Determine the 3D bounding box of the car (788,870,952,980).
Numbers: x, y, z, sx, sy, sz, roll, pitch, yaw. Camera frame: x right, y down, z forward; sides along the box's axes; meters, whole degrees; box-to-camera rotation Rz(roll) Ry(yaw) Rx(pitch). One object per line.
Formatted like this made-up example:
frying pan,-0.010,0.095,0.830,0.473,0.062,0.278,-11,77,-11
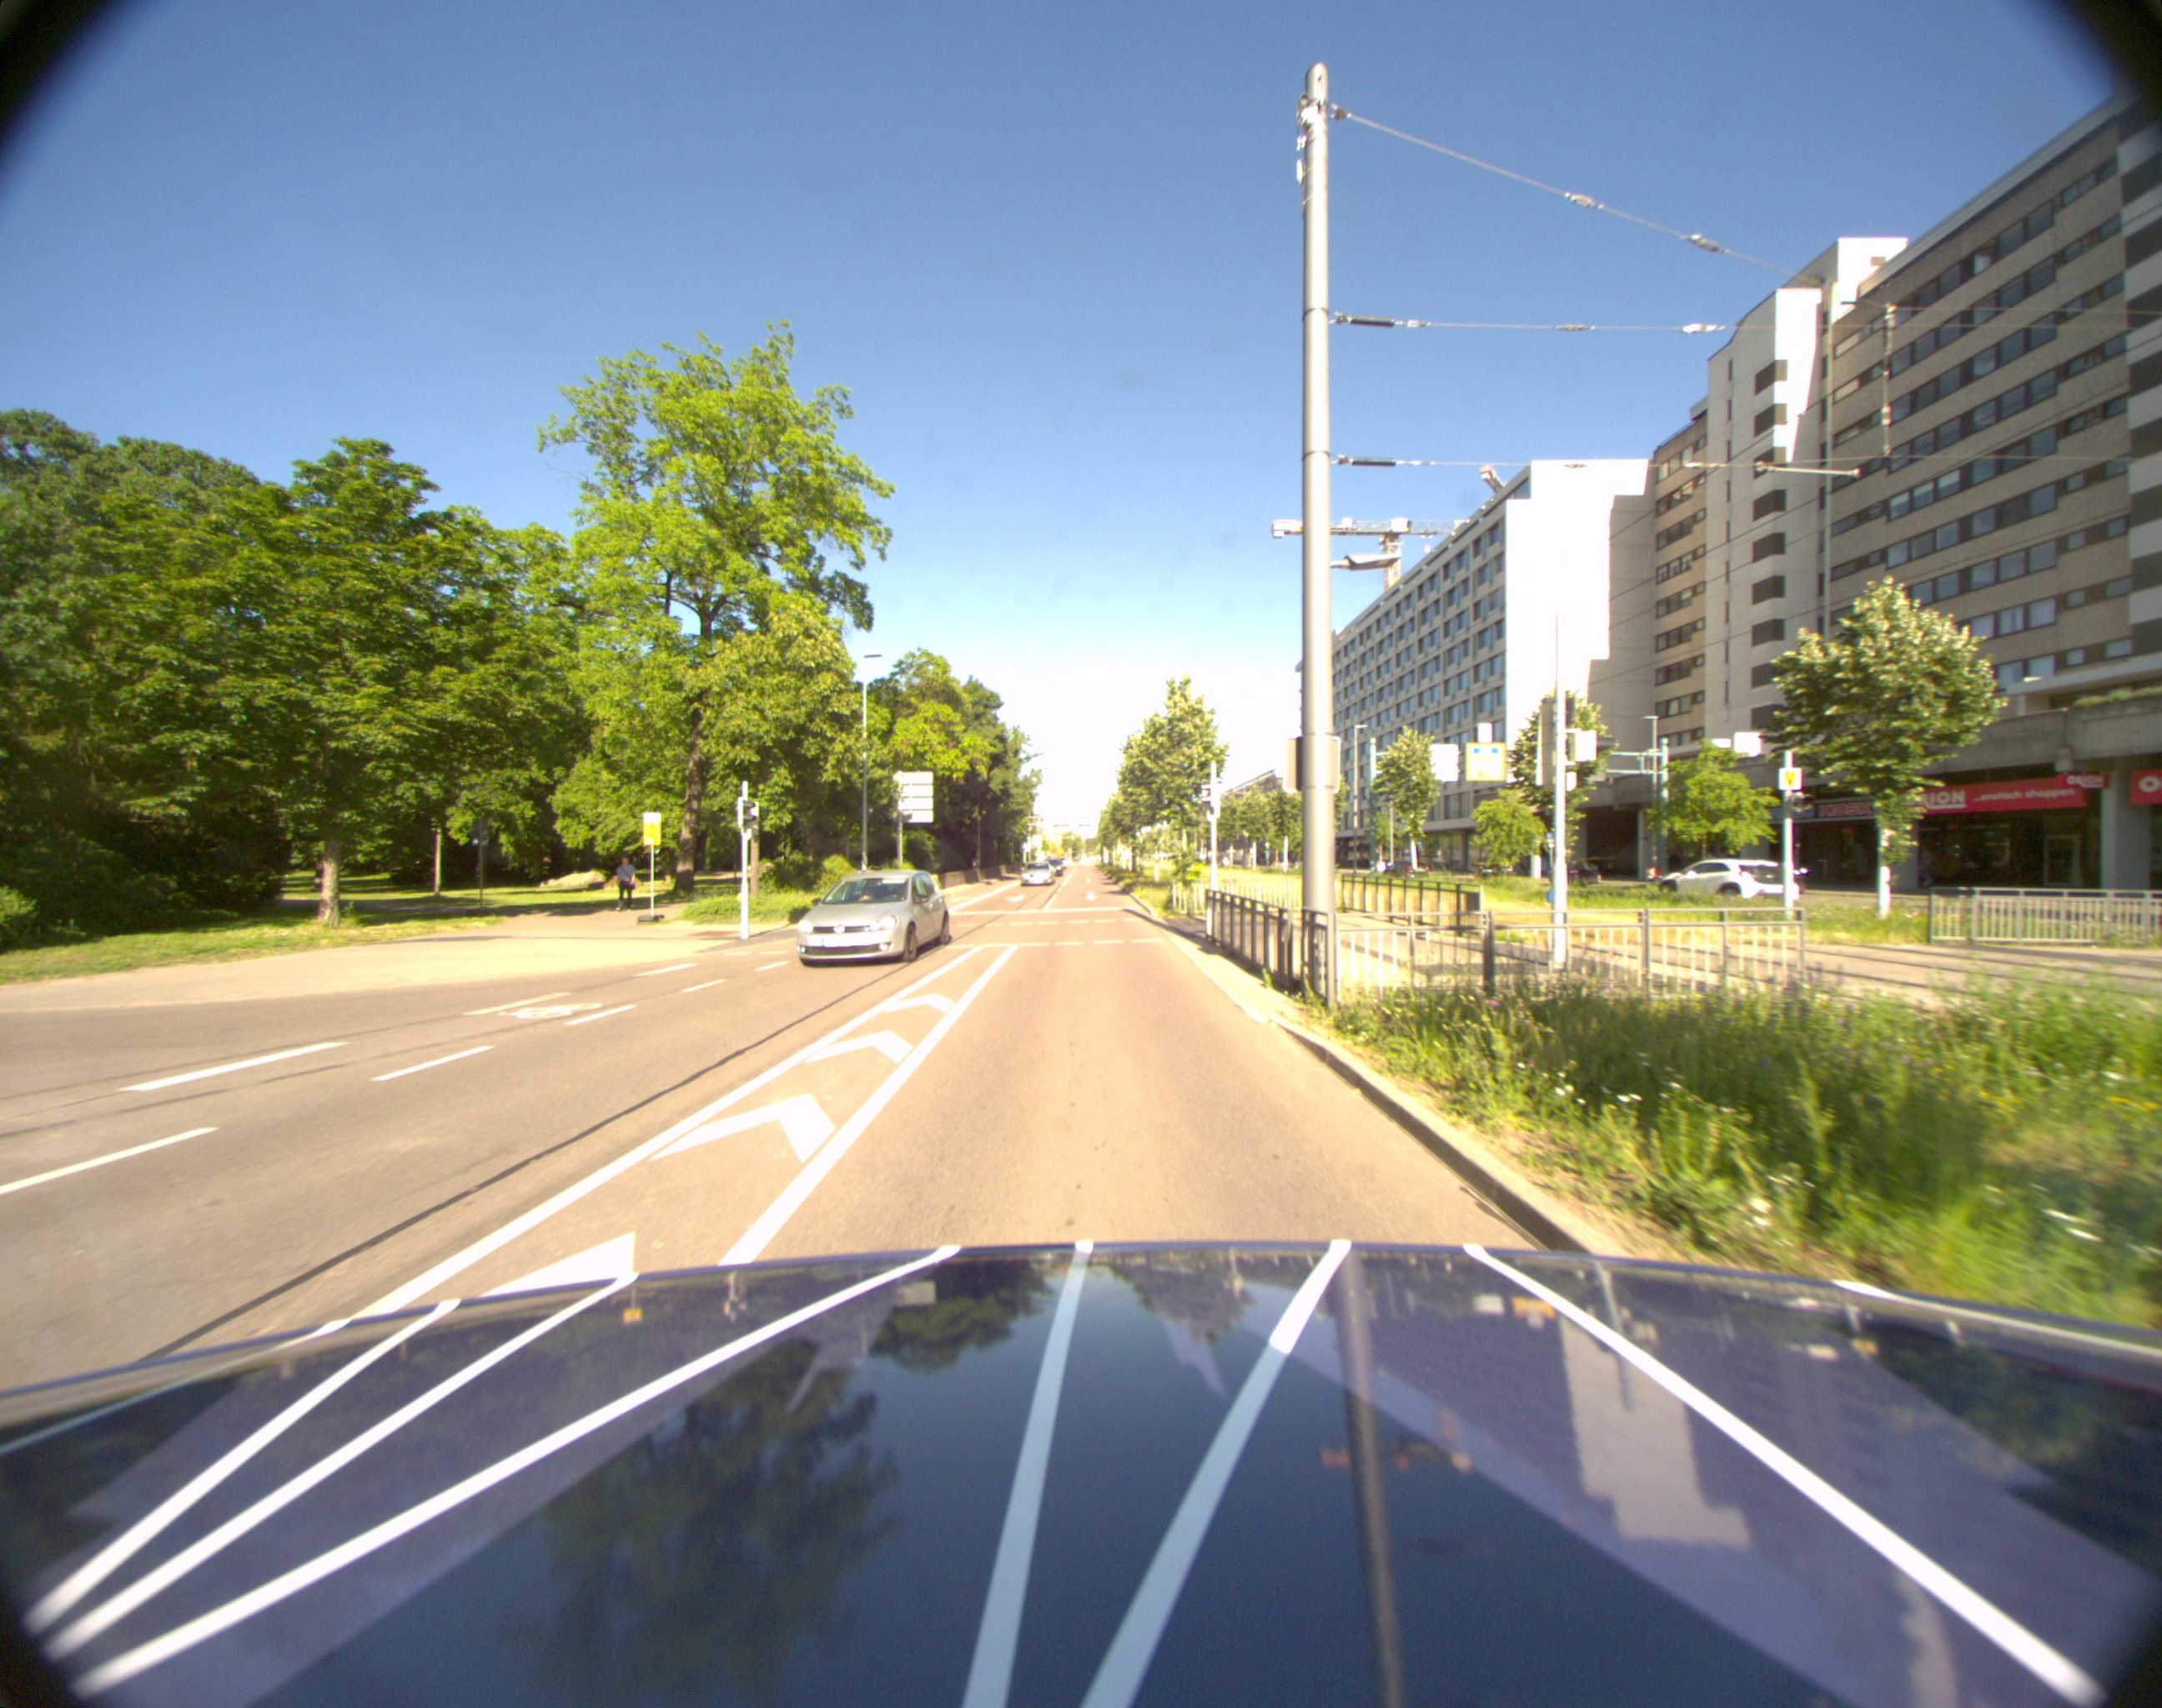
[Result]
car,-3.433,1.080,13.147,1.703,1.466,3.999,-1,0,0

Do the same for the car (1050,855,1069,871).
car,-2.492,1.063,88.681,1.998,1.718,4.000,-1,0,0

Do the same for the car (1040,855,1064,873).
car,-2.438,0.802,63.587,1.999,1.493,3.999,0,0,-2

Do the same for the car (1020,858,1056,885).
car,-2.485,0.988,44.766,1.839,1.415,3.999,-1,0,0

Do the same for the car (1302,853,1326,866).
car,29.041,0.634,94.852,1.865,1.541,3.772,-1,0,0

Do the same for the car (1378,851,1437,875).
car,22.325,0.585,52.107,1.999,1.569,4.506,-1,0,-1

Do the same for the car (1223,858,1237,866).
car,28.161,1.485,143.520,1.827,1.499,3.813,-1,0,0

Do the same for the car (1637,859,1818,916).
car,20.811,1.003,24.767,1.999,1.569,4.506,-1,0,-1

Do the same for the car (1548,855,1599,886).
car,29.378,0.975,45.267,1.791,1.674,4.008,-1,1,44

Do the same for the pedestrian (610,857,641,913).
pedestrian,-14.302,0.964,23.885,0.739,1.692,0.873,-2,1,-29

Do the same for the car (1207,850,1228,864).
car,18.241,0.365,101.609,1.998,1.808,4.285,-1,0,1
